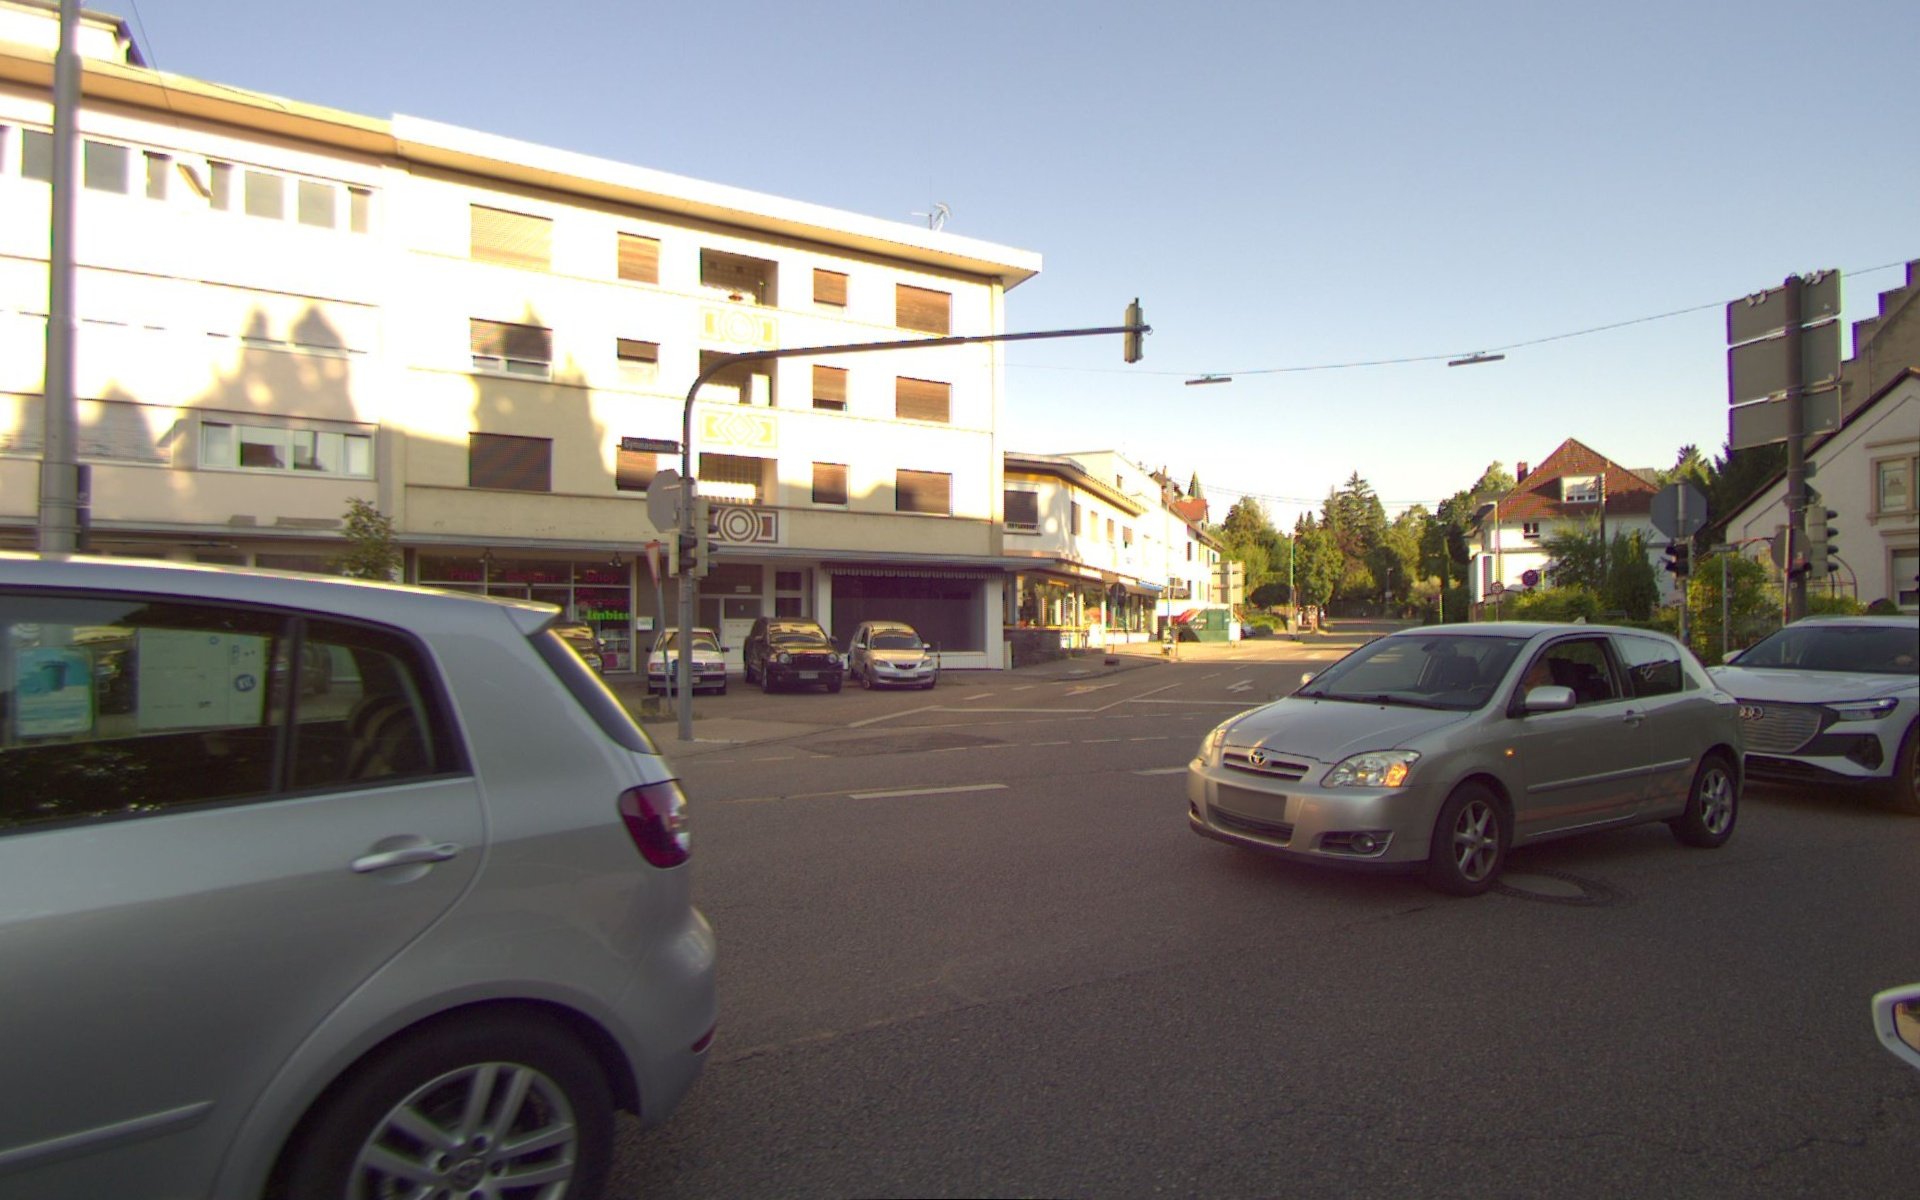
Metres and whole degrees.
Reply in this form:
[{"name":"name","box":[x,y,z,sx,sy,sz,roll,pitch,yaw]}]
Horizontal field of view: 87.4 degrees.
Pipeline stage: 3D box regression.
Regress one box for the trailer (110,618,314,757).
[{"name":"trailer","box":[-9.029,0.952,12.375,1.555,1.415,3.240,0,0,-29]}]

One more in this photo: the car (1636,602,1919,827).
[{"name":"car","box":[8.487,0.873,9.250,4.474,1.670,1.770,0,0,-26]}]

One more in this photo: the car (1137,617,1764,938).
[{"name":"car","box":[3.292,0.873,6.568,4.048,1.500,1.767,1,0,-31]}]

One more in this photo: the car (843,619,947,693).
[{"name":"car","box":[-1.749,1.342,25.572,1.966,1.632,4.317,0,0,-13]}]

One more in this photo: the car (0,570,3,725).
[{"name":"car","box":[-12.183,0.598,10.424,2.091,1.991,4.647,0,0,-29]}]

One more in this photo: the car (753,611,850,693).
[{"name":"car","box":[-3.857,1.140,23.846,1.966,1.738,4.316,0,0,-13]}]

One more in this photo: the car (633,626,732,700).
[{"name":"car","box":[-6.221,1.356,22.925,1.966,1.417,4.316,0,0,-13]}]

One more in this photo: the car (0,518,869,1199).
[{"name":"car","box":[-2.331,0.653,2.028,3.961,1.563,1.763,1,0,-36]}]

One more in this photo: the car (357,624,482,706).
[{"name":"car","box":[-11.019,1.245,20.767,1.973,1.417,4.301,0,0,-24]}]

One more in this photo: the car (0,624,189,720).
[{"name":"car","box":[-15.529,1.173,17.840,1.973,1.417,4.301,0,0,-24]}]
